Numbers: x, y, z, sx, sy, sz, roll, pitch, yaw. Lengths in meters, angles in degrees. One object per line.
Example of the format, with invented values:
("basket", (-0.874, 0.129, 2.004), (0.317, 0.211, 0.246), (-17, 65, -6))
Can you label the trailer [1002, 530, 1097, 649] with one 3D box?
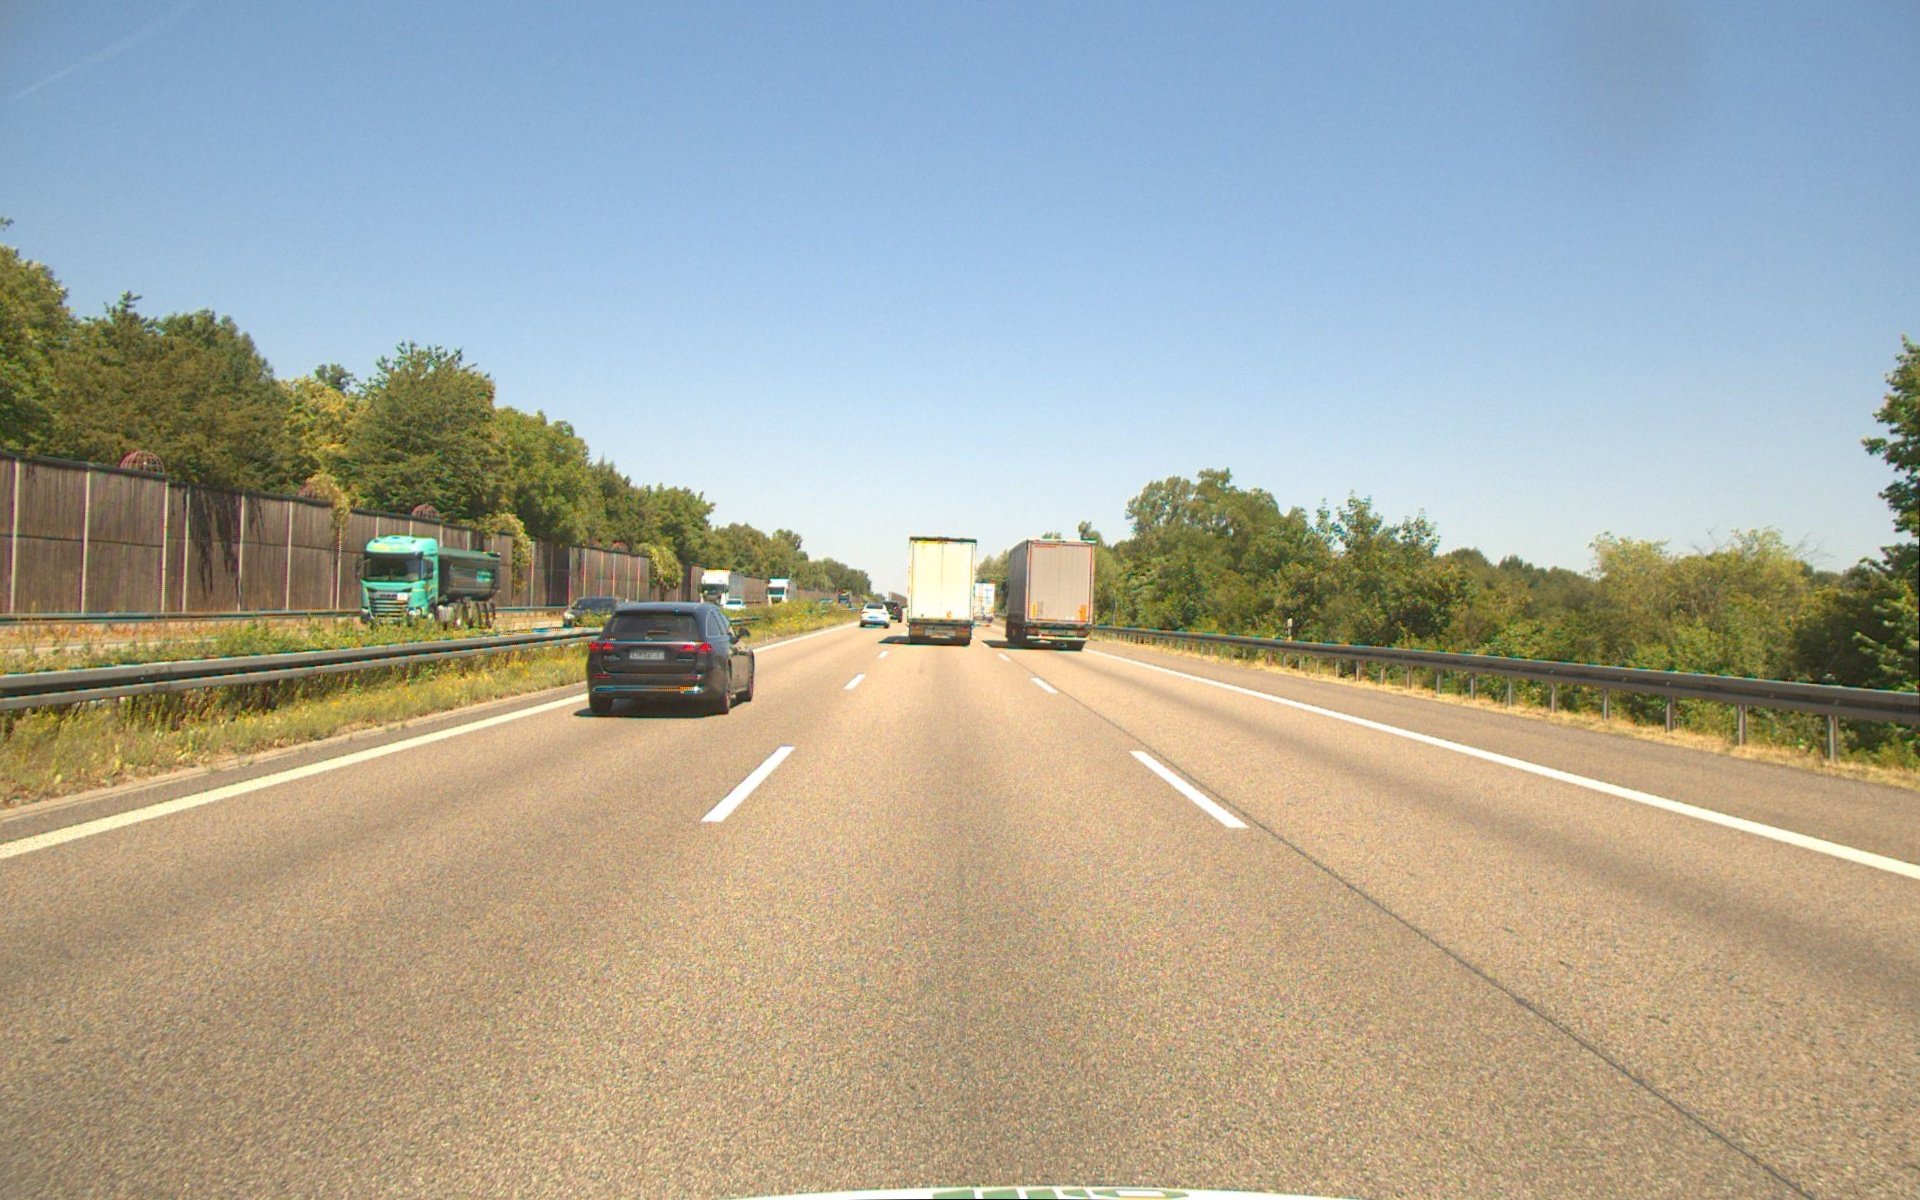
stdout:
("trailer", (3.442, -0.348, 67.047), (2.649, 4.289, 13.206), (2, 0, -2))

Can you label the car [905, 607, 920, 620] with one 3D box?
("car", (-6.110, 1.699, 213.760), (1.818, 1.645, 3.997), (1, 0, -3))

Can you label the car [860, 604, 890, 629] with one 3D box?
("car", (-5.367, 1.037, 104.346), (1.818, 1.512, 3.997), (1, 0, -3))

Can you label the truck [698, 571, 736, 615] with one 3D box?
("truck", (-23.204, -0.643, 158.409), (2.702, 4.092, 6.731), (2, -1, -2))

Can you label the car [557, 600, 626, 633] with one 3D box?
("car", (-17.198, 0.776, 77.507), (1.826, 1.466, 5.087), (1, 0, 3))

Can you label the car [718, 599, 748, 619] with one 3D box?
("car", (-18.900, 0.735, 137.805), (1.953, 1.618, 4.491), (1, 0, -1))

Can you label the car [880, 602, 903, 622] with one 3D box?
("car", (-5.782, 1.002, 138.986), (1.818, 1.645, 3.997), (1, 0, -3))

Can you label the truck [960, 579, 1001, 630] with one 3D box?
("truck", (1.844, 0.418, 156.480), (3.306, 4.378, 11.447), (4, 0, -1))

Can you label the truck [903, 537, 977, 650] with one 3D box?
("truck", (-0.941, -0.182, 68.749), (2.652, 4.157, 13.468), (2, 0, -2))

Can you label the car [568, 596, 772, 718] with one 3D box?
("car", (-3.998, 0.725, 23.826), (1.904, 1.533, 5.820), (1, 0, 0))

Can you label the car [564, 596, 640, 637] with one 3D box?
("car", (-13.518, 0.617, 62.715), (1.918, 1.471, 4.458), (1, 0, -1))

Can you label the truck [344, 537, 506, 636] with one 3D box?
("truck", (-22.144, -0.476, 69.421), (3.027, 3.740, 12.363), (1, 0, -2))

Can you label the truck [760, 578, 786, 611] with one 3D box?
("truck", (-24.926, -0.635, 221.109), (2.776, 4.256, 7.139), (1, -1, -2))

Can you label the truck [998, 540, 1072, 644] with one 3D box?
("truck", (3.252, -0.313, 73.657), (2.637, 4.289, 7.835), (2, 0, -2))
